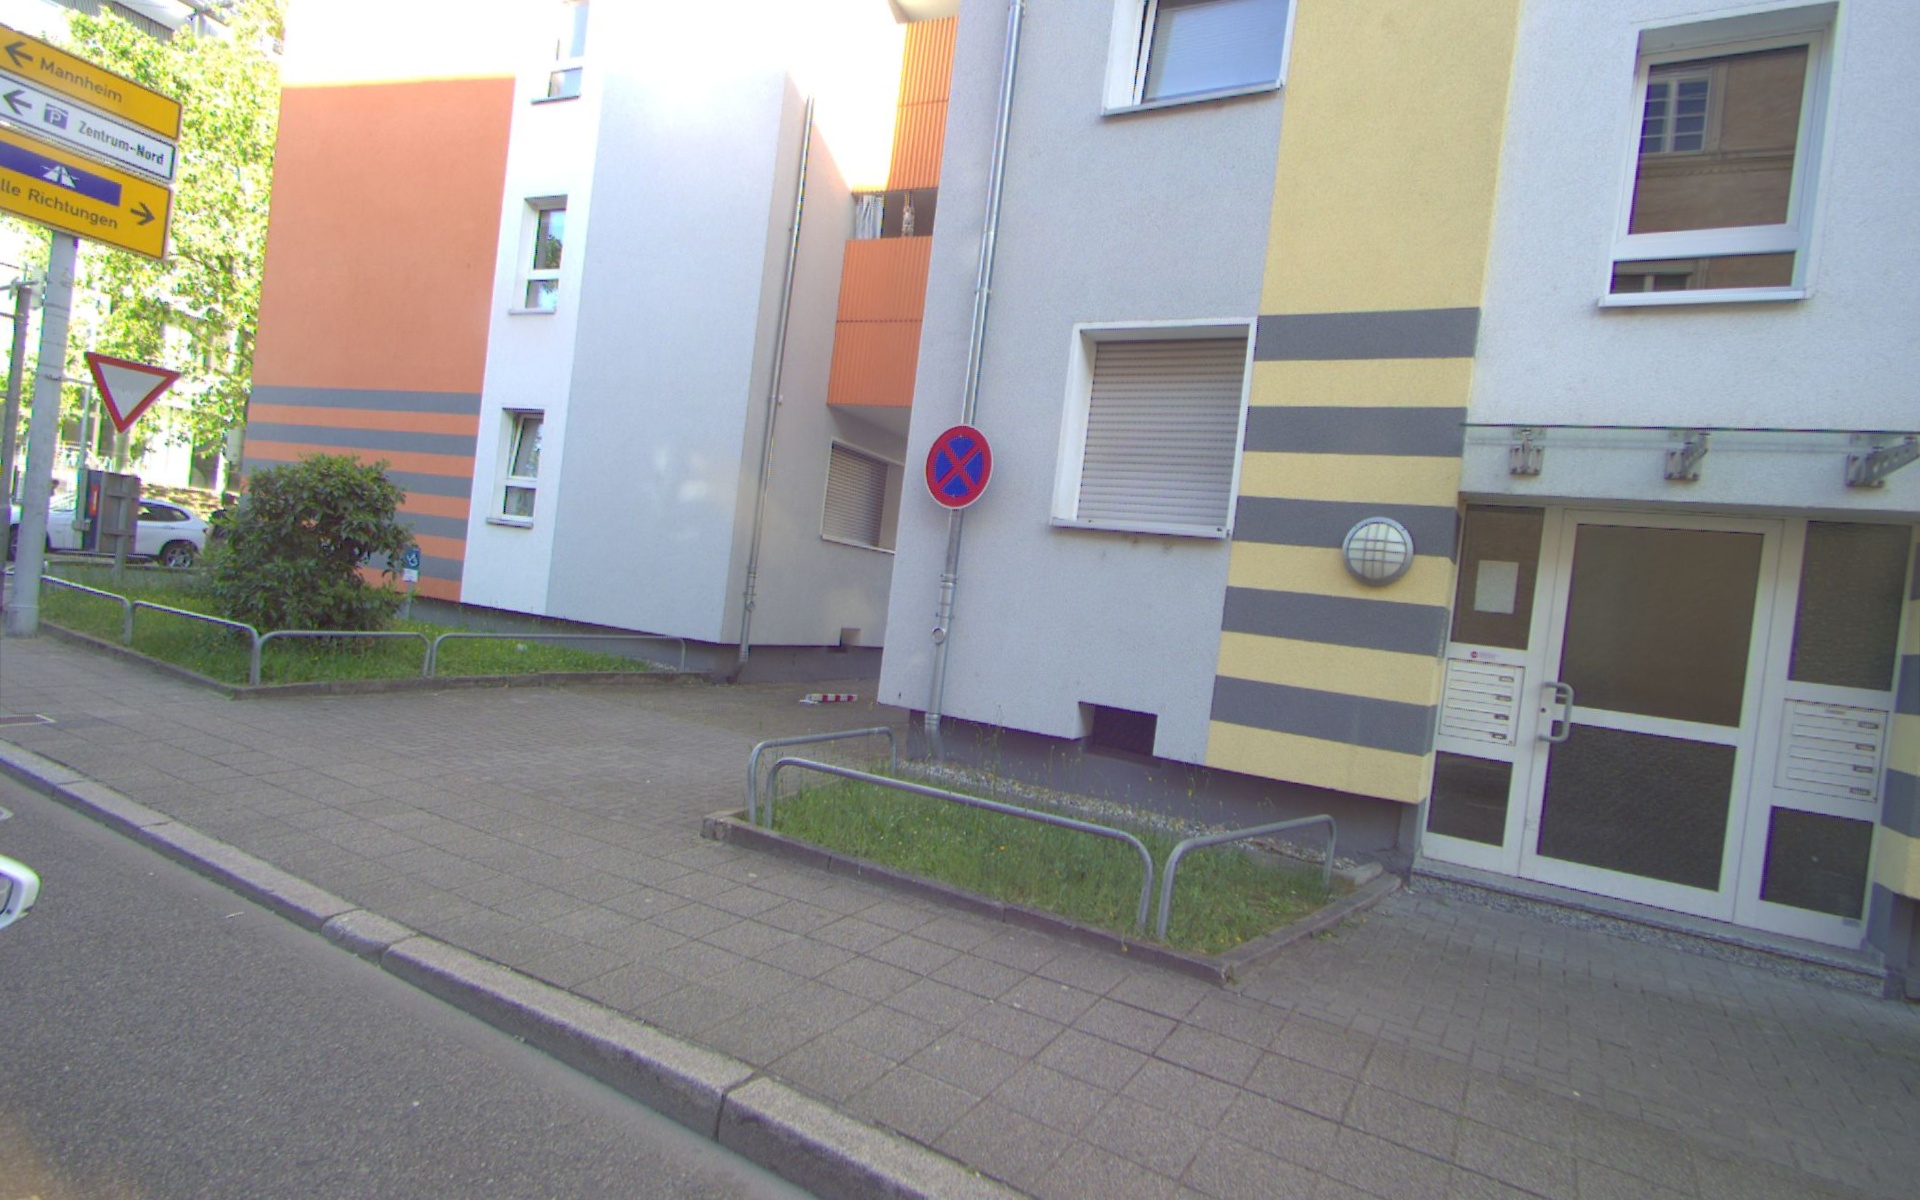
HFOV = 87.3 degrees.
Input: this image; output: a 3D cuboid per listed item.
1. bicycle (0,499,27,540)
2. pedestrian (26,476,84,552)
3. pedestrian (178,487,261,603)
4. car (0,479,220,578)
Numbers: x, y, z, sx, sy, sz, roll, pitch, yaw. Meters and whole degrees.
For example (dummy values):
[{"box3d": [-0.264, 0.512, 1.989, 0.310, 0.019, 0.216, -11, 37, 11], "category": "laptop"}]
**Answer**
[{"box3d": [-26.389, -2.252, 27.385, 1.409, 1.021, 0.379, 7, 1, -11], "category": "bicycle"}, {"box3d": [-24.049, -2.280, 26.746, 0.752, 1.837, 0.913, 6, -1, 42], "category": "pedestrian"}, {"box3d": [-12.537, -0.908, 17.065, 0.690, 1.831, 0.719, 7, -1, -9], "category": "pedestrian"}, {"box3d": [-18.306, -1.496, 20.942, 1.687, 1.532, 4.371, 7, -1, 21], "category": "car"}]
